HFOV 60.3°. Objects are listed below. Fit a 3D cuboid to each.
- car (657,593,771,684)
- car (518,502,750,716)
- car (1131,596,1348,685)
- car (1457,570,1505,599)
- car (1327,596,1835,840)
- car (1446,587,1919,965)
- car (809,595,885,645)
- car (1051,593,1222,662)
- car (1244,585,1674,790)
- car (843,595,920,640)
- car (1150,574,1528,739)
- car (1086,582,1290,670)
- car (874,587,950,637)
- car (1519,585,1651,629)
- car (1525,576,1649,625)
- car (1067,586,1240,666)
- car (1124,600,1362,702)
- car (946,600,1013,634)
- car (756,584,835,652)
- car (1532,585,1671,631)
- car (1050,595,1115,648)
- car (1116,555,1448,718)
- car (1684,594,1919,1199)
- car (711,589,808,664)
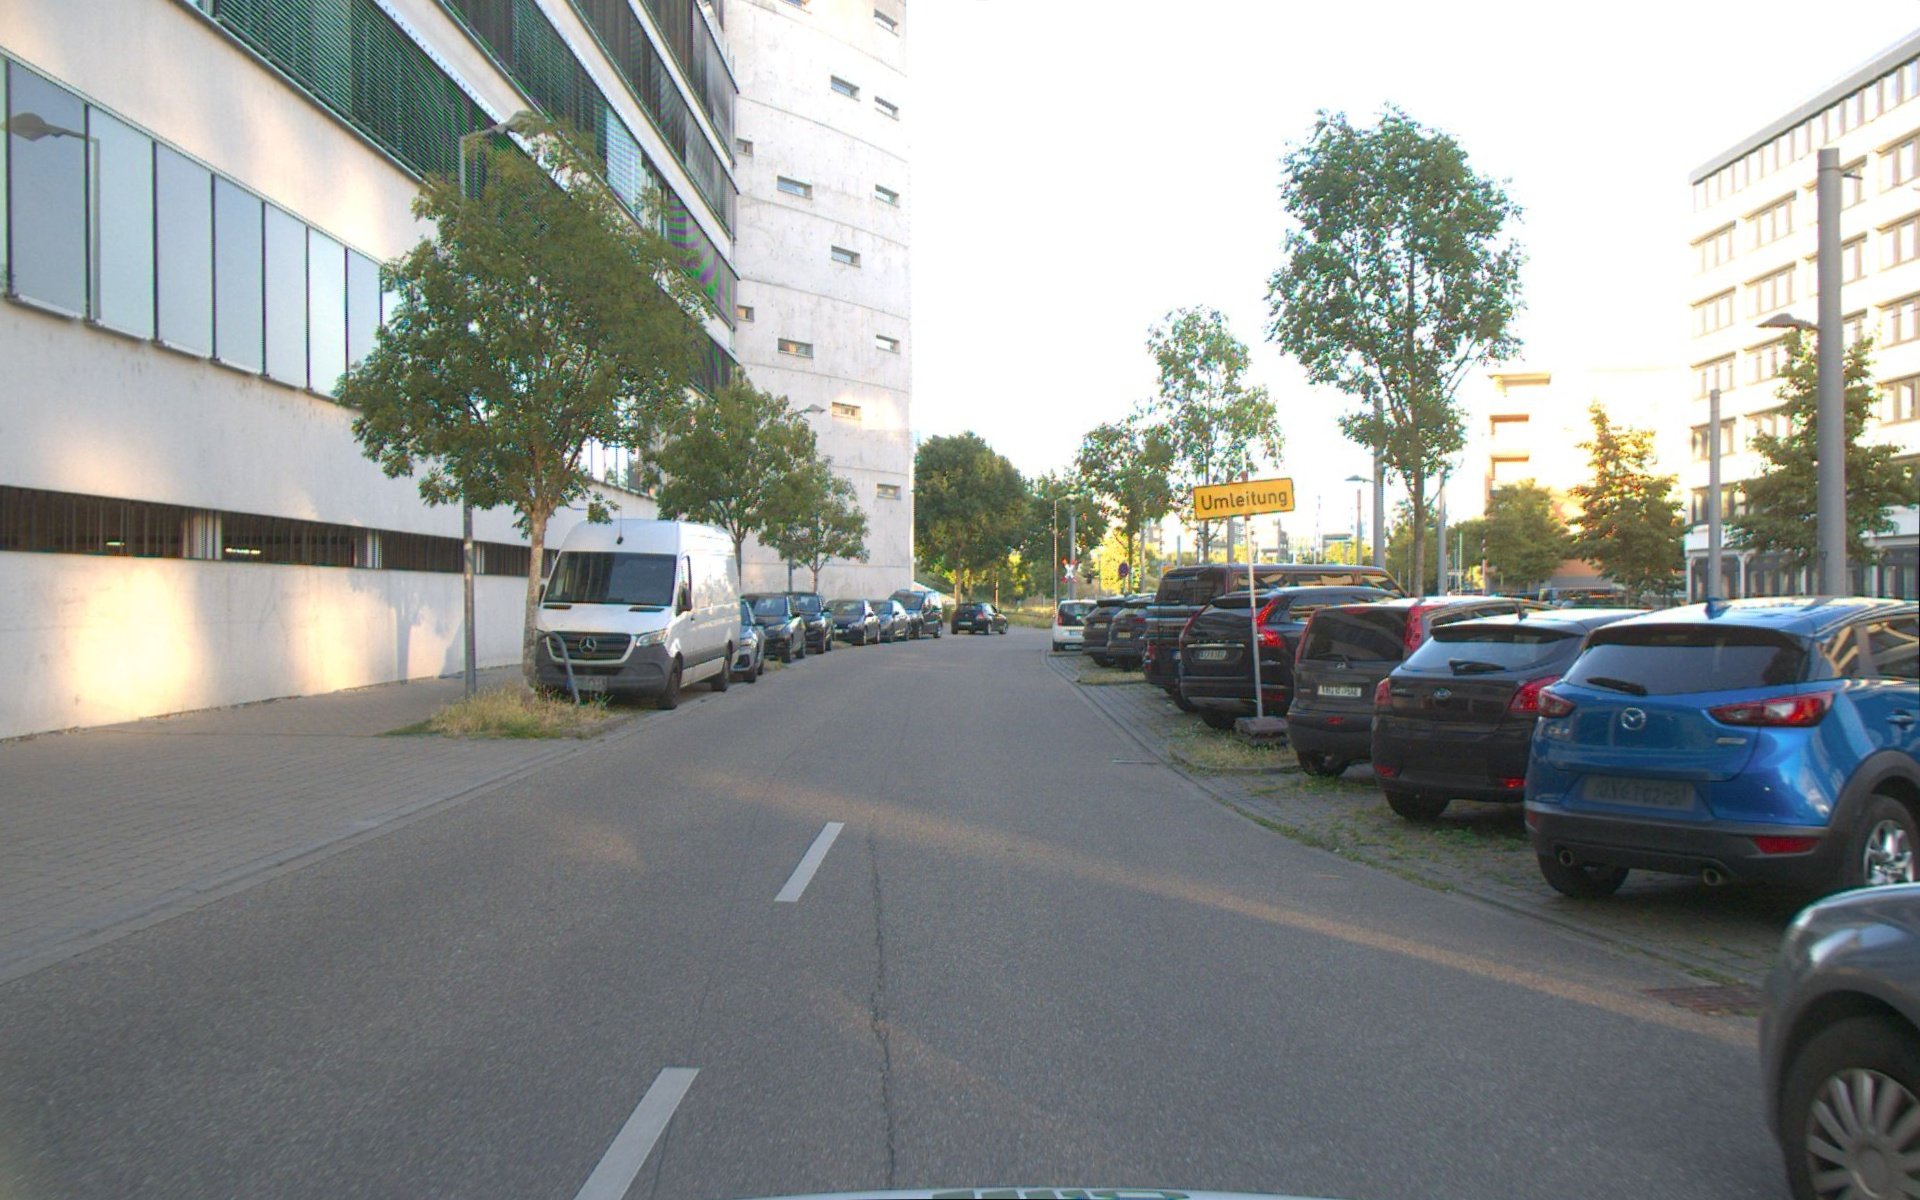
[{"bbox_3d":[-4.421,0.653,30.202,1.721,1.464,3.898,2,1,-4],"label":"car"},{"bbox_3d":[-4.586,0.064,24.476,1.918,2.662,6.893,2,1,1],"label":"car"},{"bbox_3d":[5.068,0.704,29.833,3.736,1.467,1.742,1,1,-36],"label":"car"},{"bbox_3d":[47.813,-1.394,151.874,4.069,2.629,1.703,0,0,22],"label":"car"},{"bbox_3d":[4.650,0.729,12.161,3.959,1.490,1.713,0,0,-38],"label":"car"},{"bbox_3d":[4.627,0.716,8.753,3.954,1.547,1.904,-1,-1,-35],"label":"car"},{"bbox_3d":[-3.663,0.608,54.169,1.686,1.482,4.274,2,1,7],"label":"car"},{"bbox_3d":[4.460,0.663,41.680,3.878,1.535,1.937,-2,1,-30],"label":"car"},{"bbox_3d":[4.607,0.749,15.064,3.955,1.623,1.715,2,-1,-36],"label":"car"},{"bbox_3d":[-2.778,0.600,59.596,1.686,1.482,4.698,2,1,10],"label":"car"},{"bbox_3d":[4.651,0.630,20.038,4.547,1.779,1.850,1,1,-34],"label":"car"},{"bbox_3d":[4.896,0.538,35.538,3.928,1.668,1.955,-2,0,-28],"label":"car"},{"bbox_3d":[-1.830,0.455,64.773,1.720,1.830,4.466,2,1,15],"label":"car"},{"bbox_3d":[23.689,0.270,62.787,4.403,1.630,1.694,0,0,0],"label":"car"},{"bbox_3d":[25.983,0.018,68.639,4.402,1.970,1.932,0,0,2],"label":"car"},{"bbox_3d":[4.494,0.592,38.263,3.731,1.756,1.744,1,1,-33],"label":"car"},{"bbox_3d":[4.572,0.789,26.538,3.736,1.491,1.618,1,1,-36],"label":"car"},{"bbox_3d":[0.927,0.763,74.845,1.903,1.406,4.402,2,1,16],"label":"car"},{"bbox_3d":[-4.405,0.452,44.857,1.720,1.682,3.948,2,1,0],"label":"car"},{"bbox_3d":[23.374,0.282,60.337,4.403,1.630,1.694,0,0,0],"label":"car"},{"bbox_3d":[3.720,0.617,49.741,1.685,1.493,3.556,-1,0,8],"label":"car"},{"bbox_3d":[4.528,0.471,23.008,4.547,2.071,1.850,1,1,-34],"label":"car"},{"bbox_3d":[3.033,0.759,2.470,1.699,1.491,3.992,2,0,-9],"label":"car"},{"bbox_3d":[-4.701,0.584,39.330,1.720,1.588,4.043,2,1,1],"label":"car"}]
